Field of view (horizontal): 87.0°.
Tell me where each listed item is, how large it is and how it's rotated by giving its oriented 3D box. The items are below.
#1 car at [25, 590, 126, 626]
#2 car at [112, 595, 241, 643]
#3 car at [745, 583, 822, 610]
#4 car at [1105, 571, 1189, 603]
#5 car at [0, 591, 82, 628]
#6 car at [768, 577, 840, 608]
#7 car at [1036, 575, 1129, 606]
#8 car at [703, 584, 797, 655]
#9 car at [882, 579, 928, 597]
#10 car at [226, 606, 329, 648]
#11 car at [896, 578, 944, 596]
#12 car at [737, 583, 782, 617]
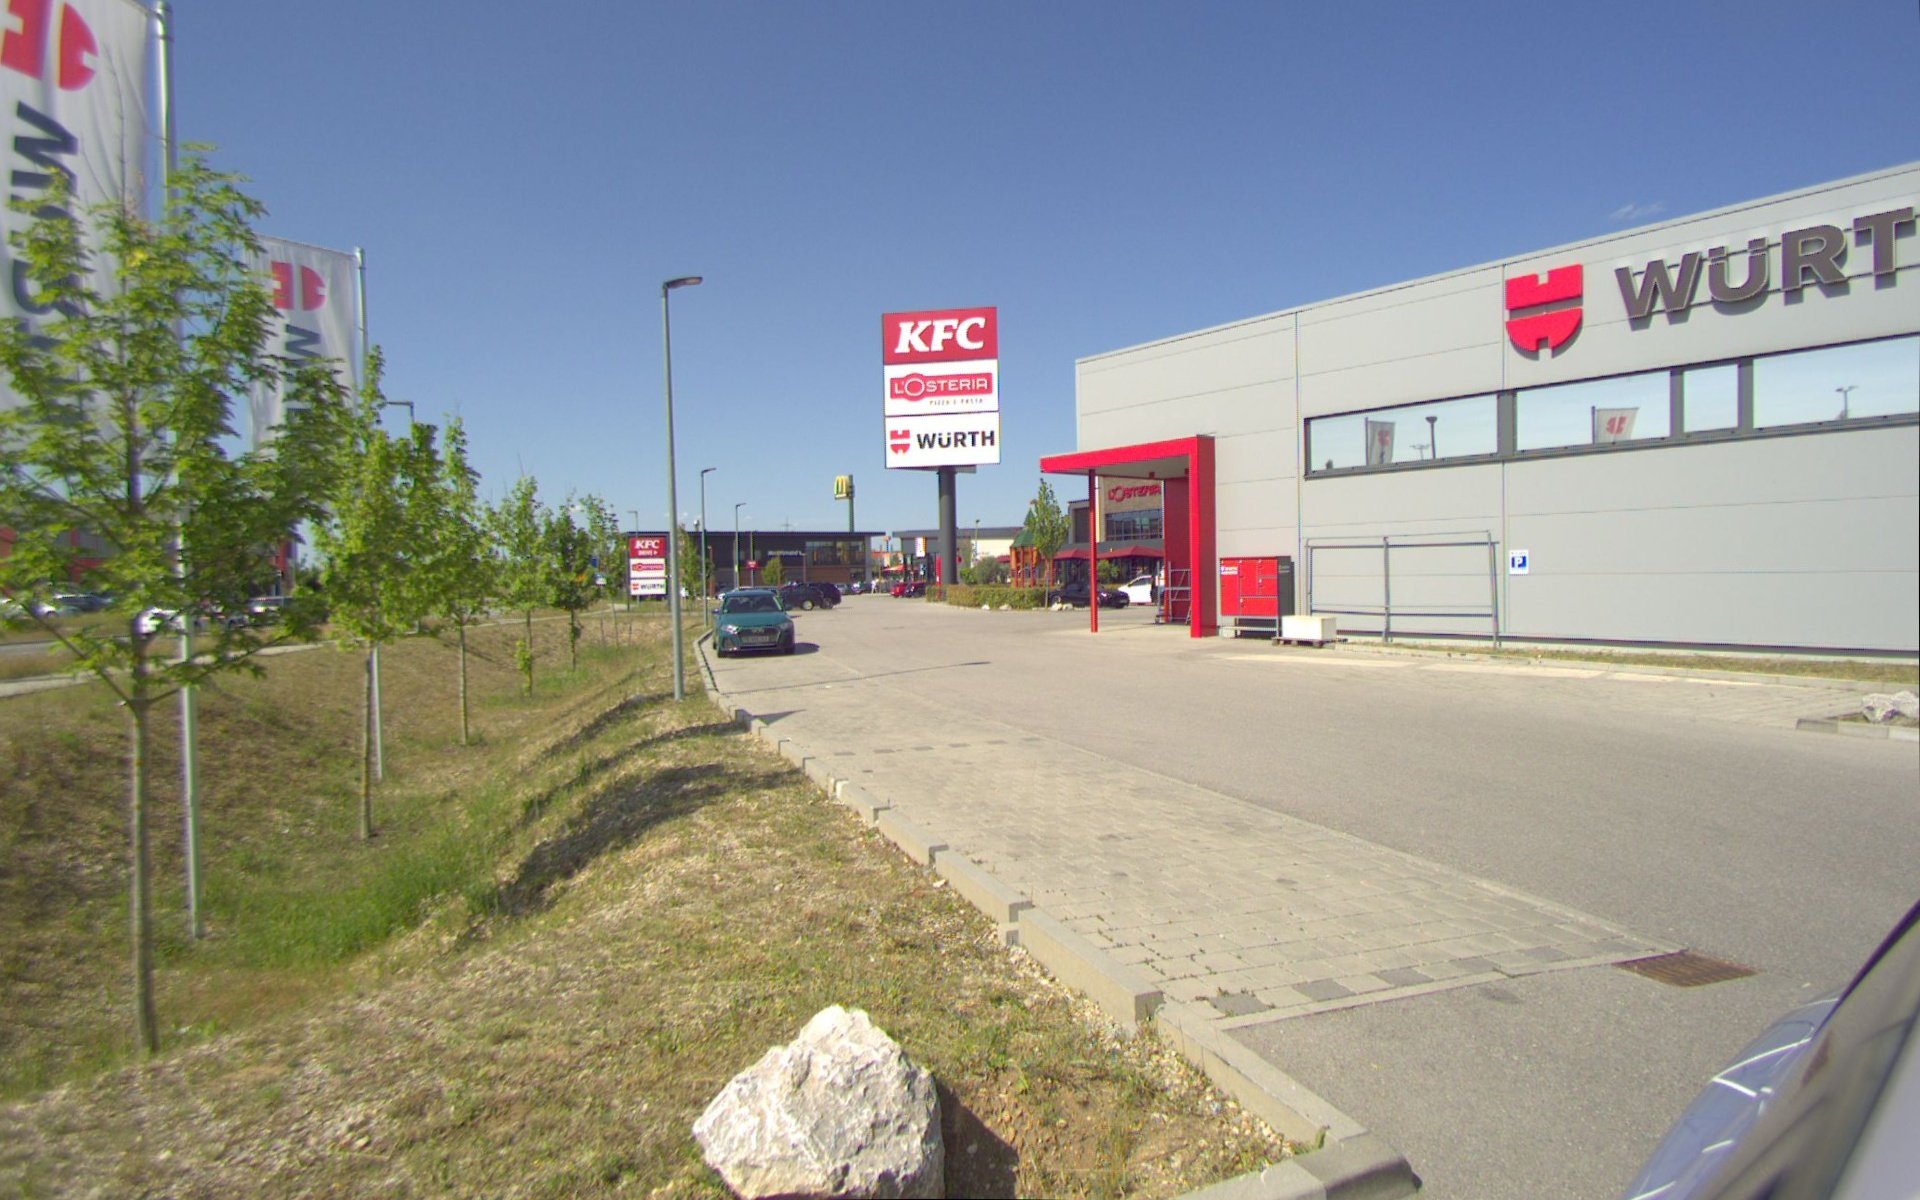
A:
[{"bbox_3d":[-57.328,0.504,65.690,4.391,2.063,2.004,-3,1,-18],"label":"car"},{"bbox_3d":[-29.759,0.670,38.647,1.906,1.570,4.770,-2,2,-11],"label":"car"},{"bbox_3d":[-10.740,-0.210,61.506,4.439,1.477,2.004,-2,1,-14],"label":"car"},{"bbox_3d":[9.261,-0.649,50.361,1.770,1.493,3.912,-2,1,-36],"label":"car"},{"bbox_3d":[-56.027,0.589,60.836,4.391,2.063,2.004,-3,1,-18],"label":"car"},{"bbox_3d":[-10.114,-0.497,65.853,4.444,1.858,2.002,-2,1,-4],"label":"car"},{"bbox_3d":[5.686,-0.450,47.193,1.800,1.354,4.146,-2,1,-42],"label":"car"},{"bbox_3d":[-5.031,0.385,23.860,1.807,1.467,4.236,-2,1,-16],"label":"car"},{"bbox_3d":[-5.241,-1.181,96.667,4.015,1.585,1.880,-2,1,-30],"label":"car"},{"bbox_3d":[-30.772,1.182,45.838,1.907,1.570,4.769,-2,2,-8],"label":"car"},{"bbox_3d":[-3.757,-1.217,94.373,4.015,1.585,1.880,-2,1,-30],"label":"car"},{"bbox_3d":[-9.411,-0.031,47.781,1.840,1.483,4.371,-2,1,-8],"label":"car"}]
